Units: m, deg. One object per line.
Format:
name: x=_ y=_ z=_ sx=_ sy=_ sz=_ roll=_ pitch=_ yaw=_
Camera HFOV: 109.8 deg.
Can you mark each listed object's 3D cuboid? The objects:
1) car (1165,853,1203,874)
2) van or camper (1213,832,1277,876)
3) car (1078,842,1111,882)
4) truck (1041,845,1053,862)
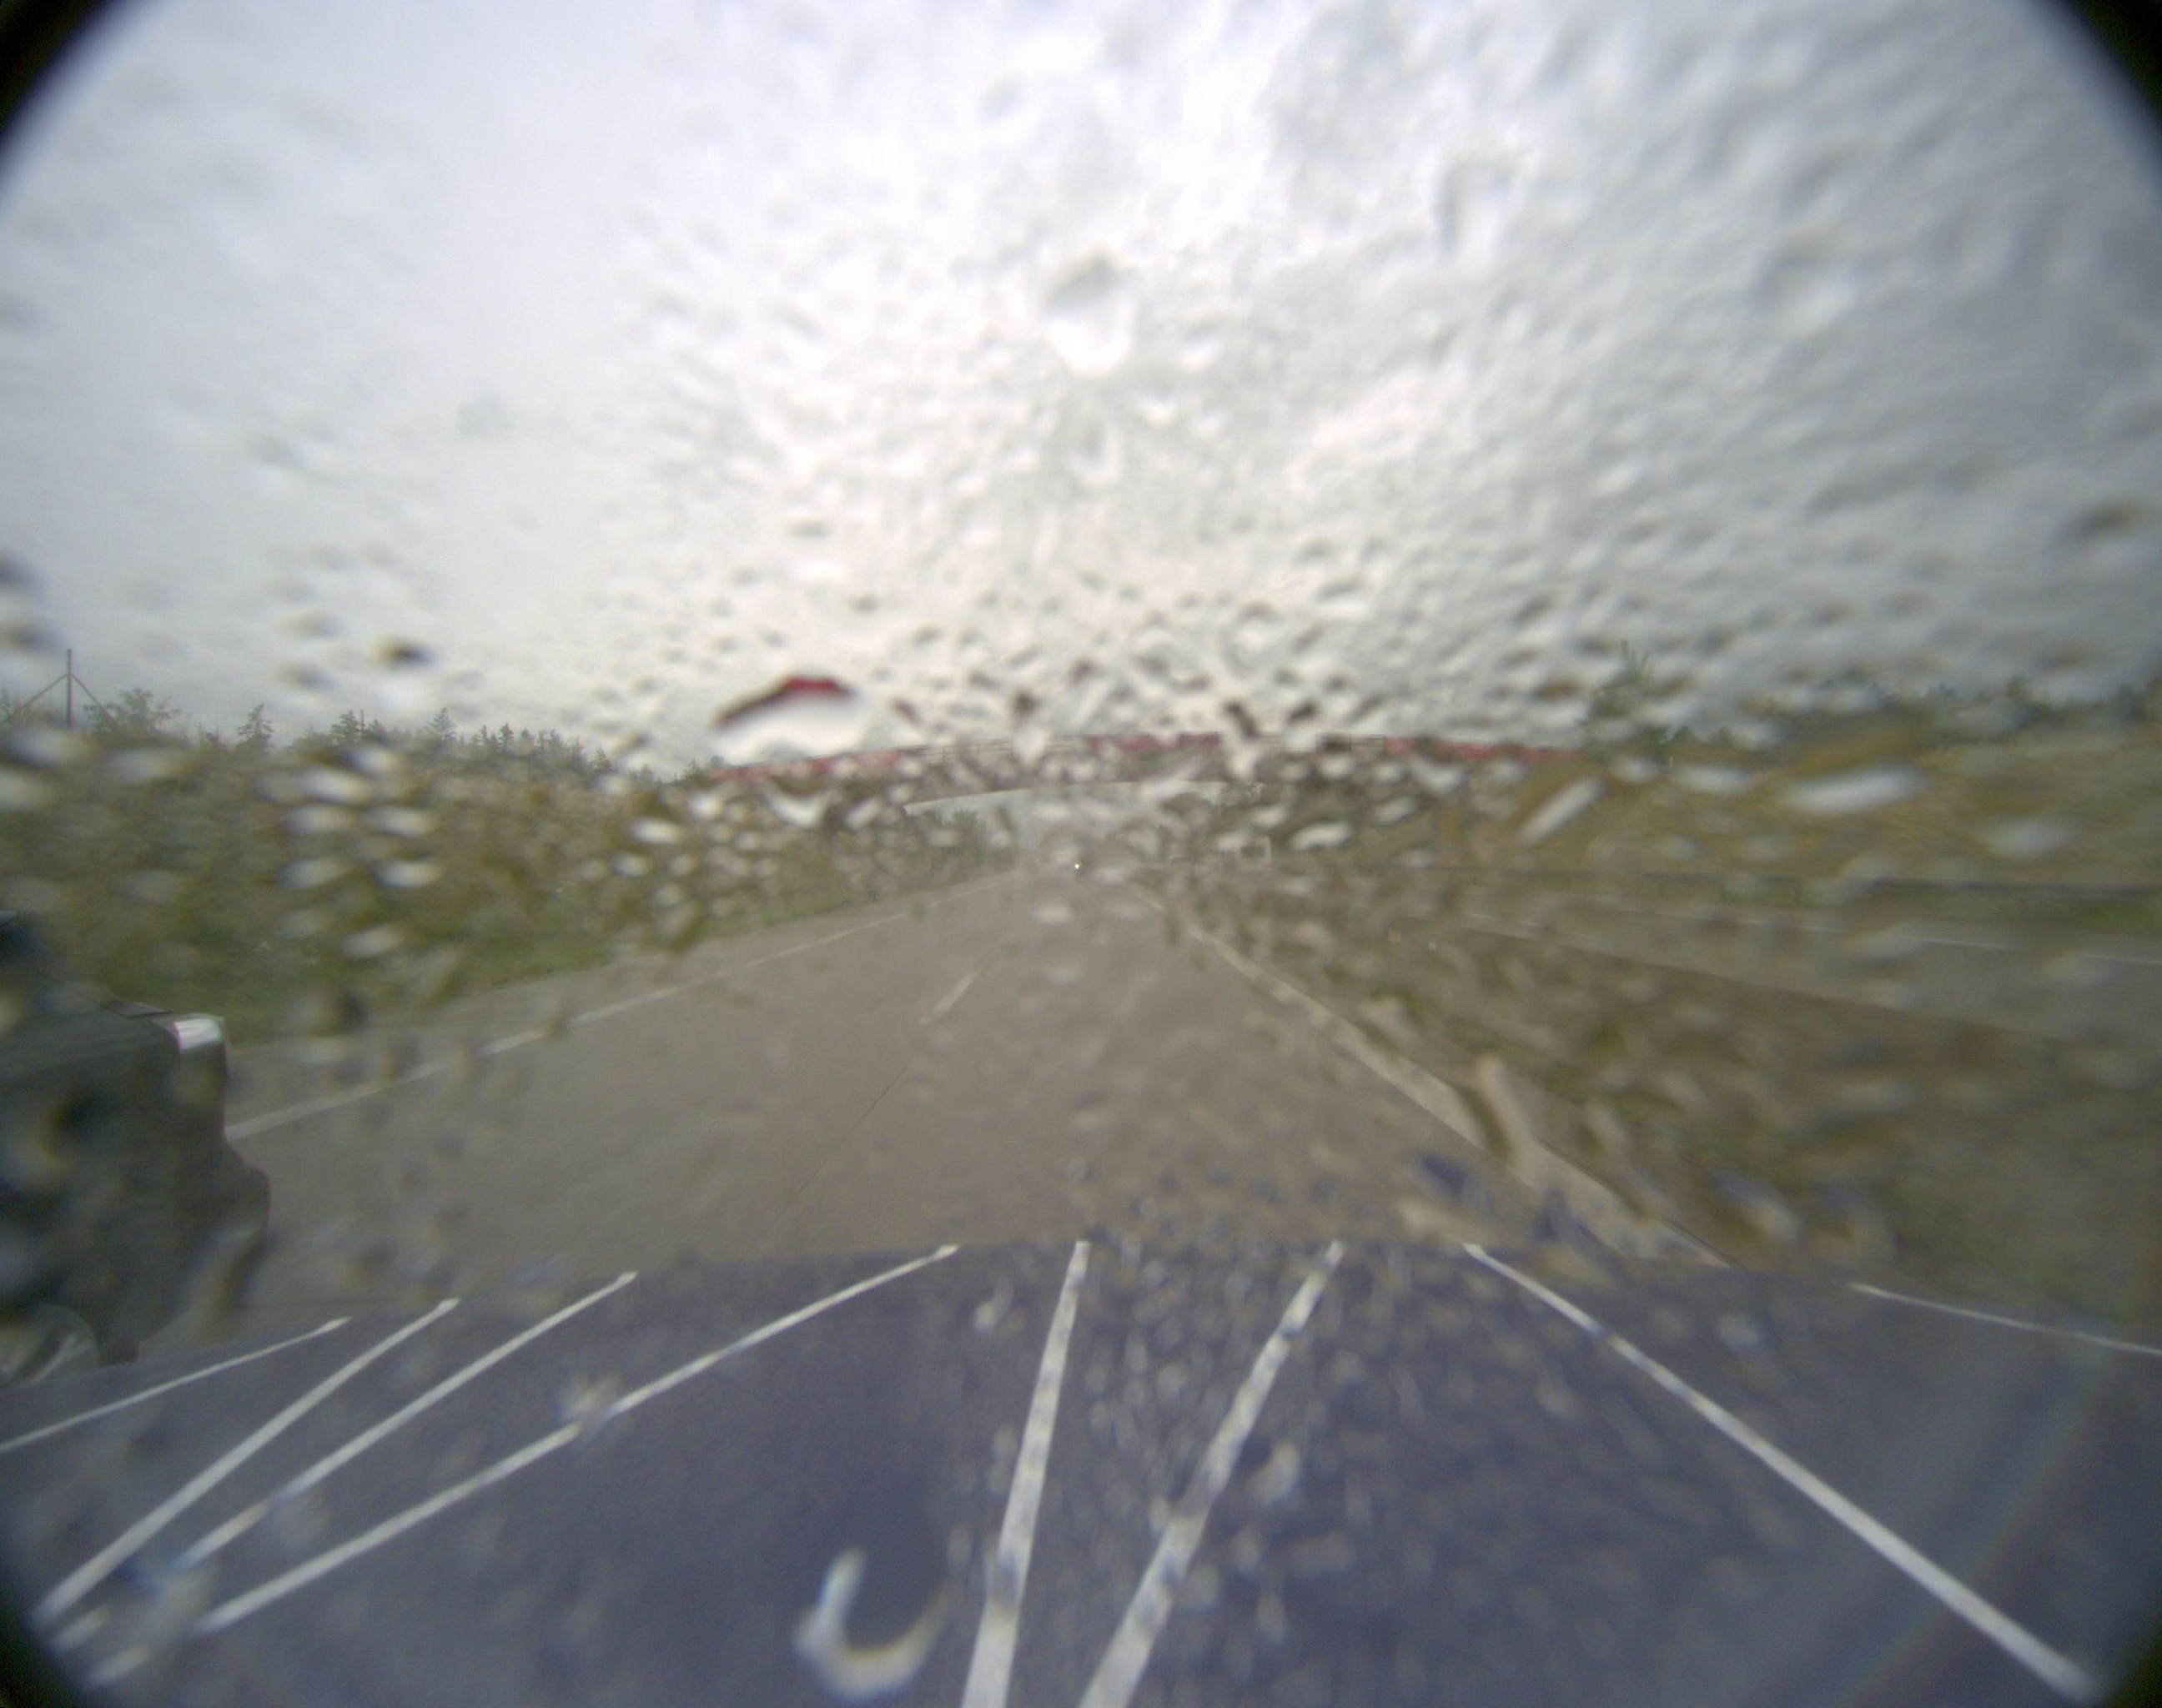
car: x=6.864 y=0.603 z=51.035 sx=1.998 sy=1.303 sz=4.511 roll=-1 pitch=0 yaw=0
van or camper: x=10.775 y=0.098 z=50.703 sx=2.450 sy=2.579 sz=7.929 roll=-3 pitch=-1 yaw=0
car: x=0.818 y=0.512 z=43.307 sx=1.795 sy=2.113 sz=4.526 roll=1 pitch=-2 yaw=2
truck: x=-8.720 y=-0.126 z=194.047 sx=2.768 sy=4.062 sz=5.435 roll=1 pitch=-2 yaw=-7
